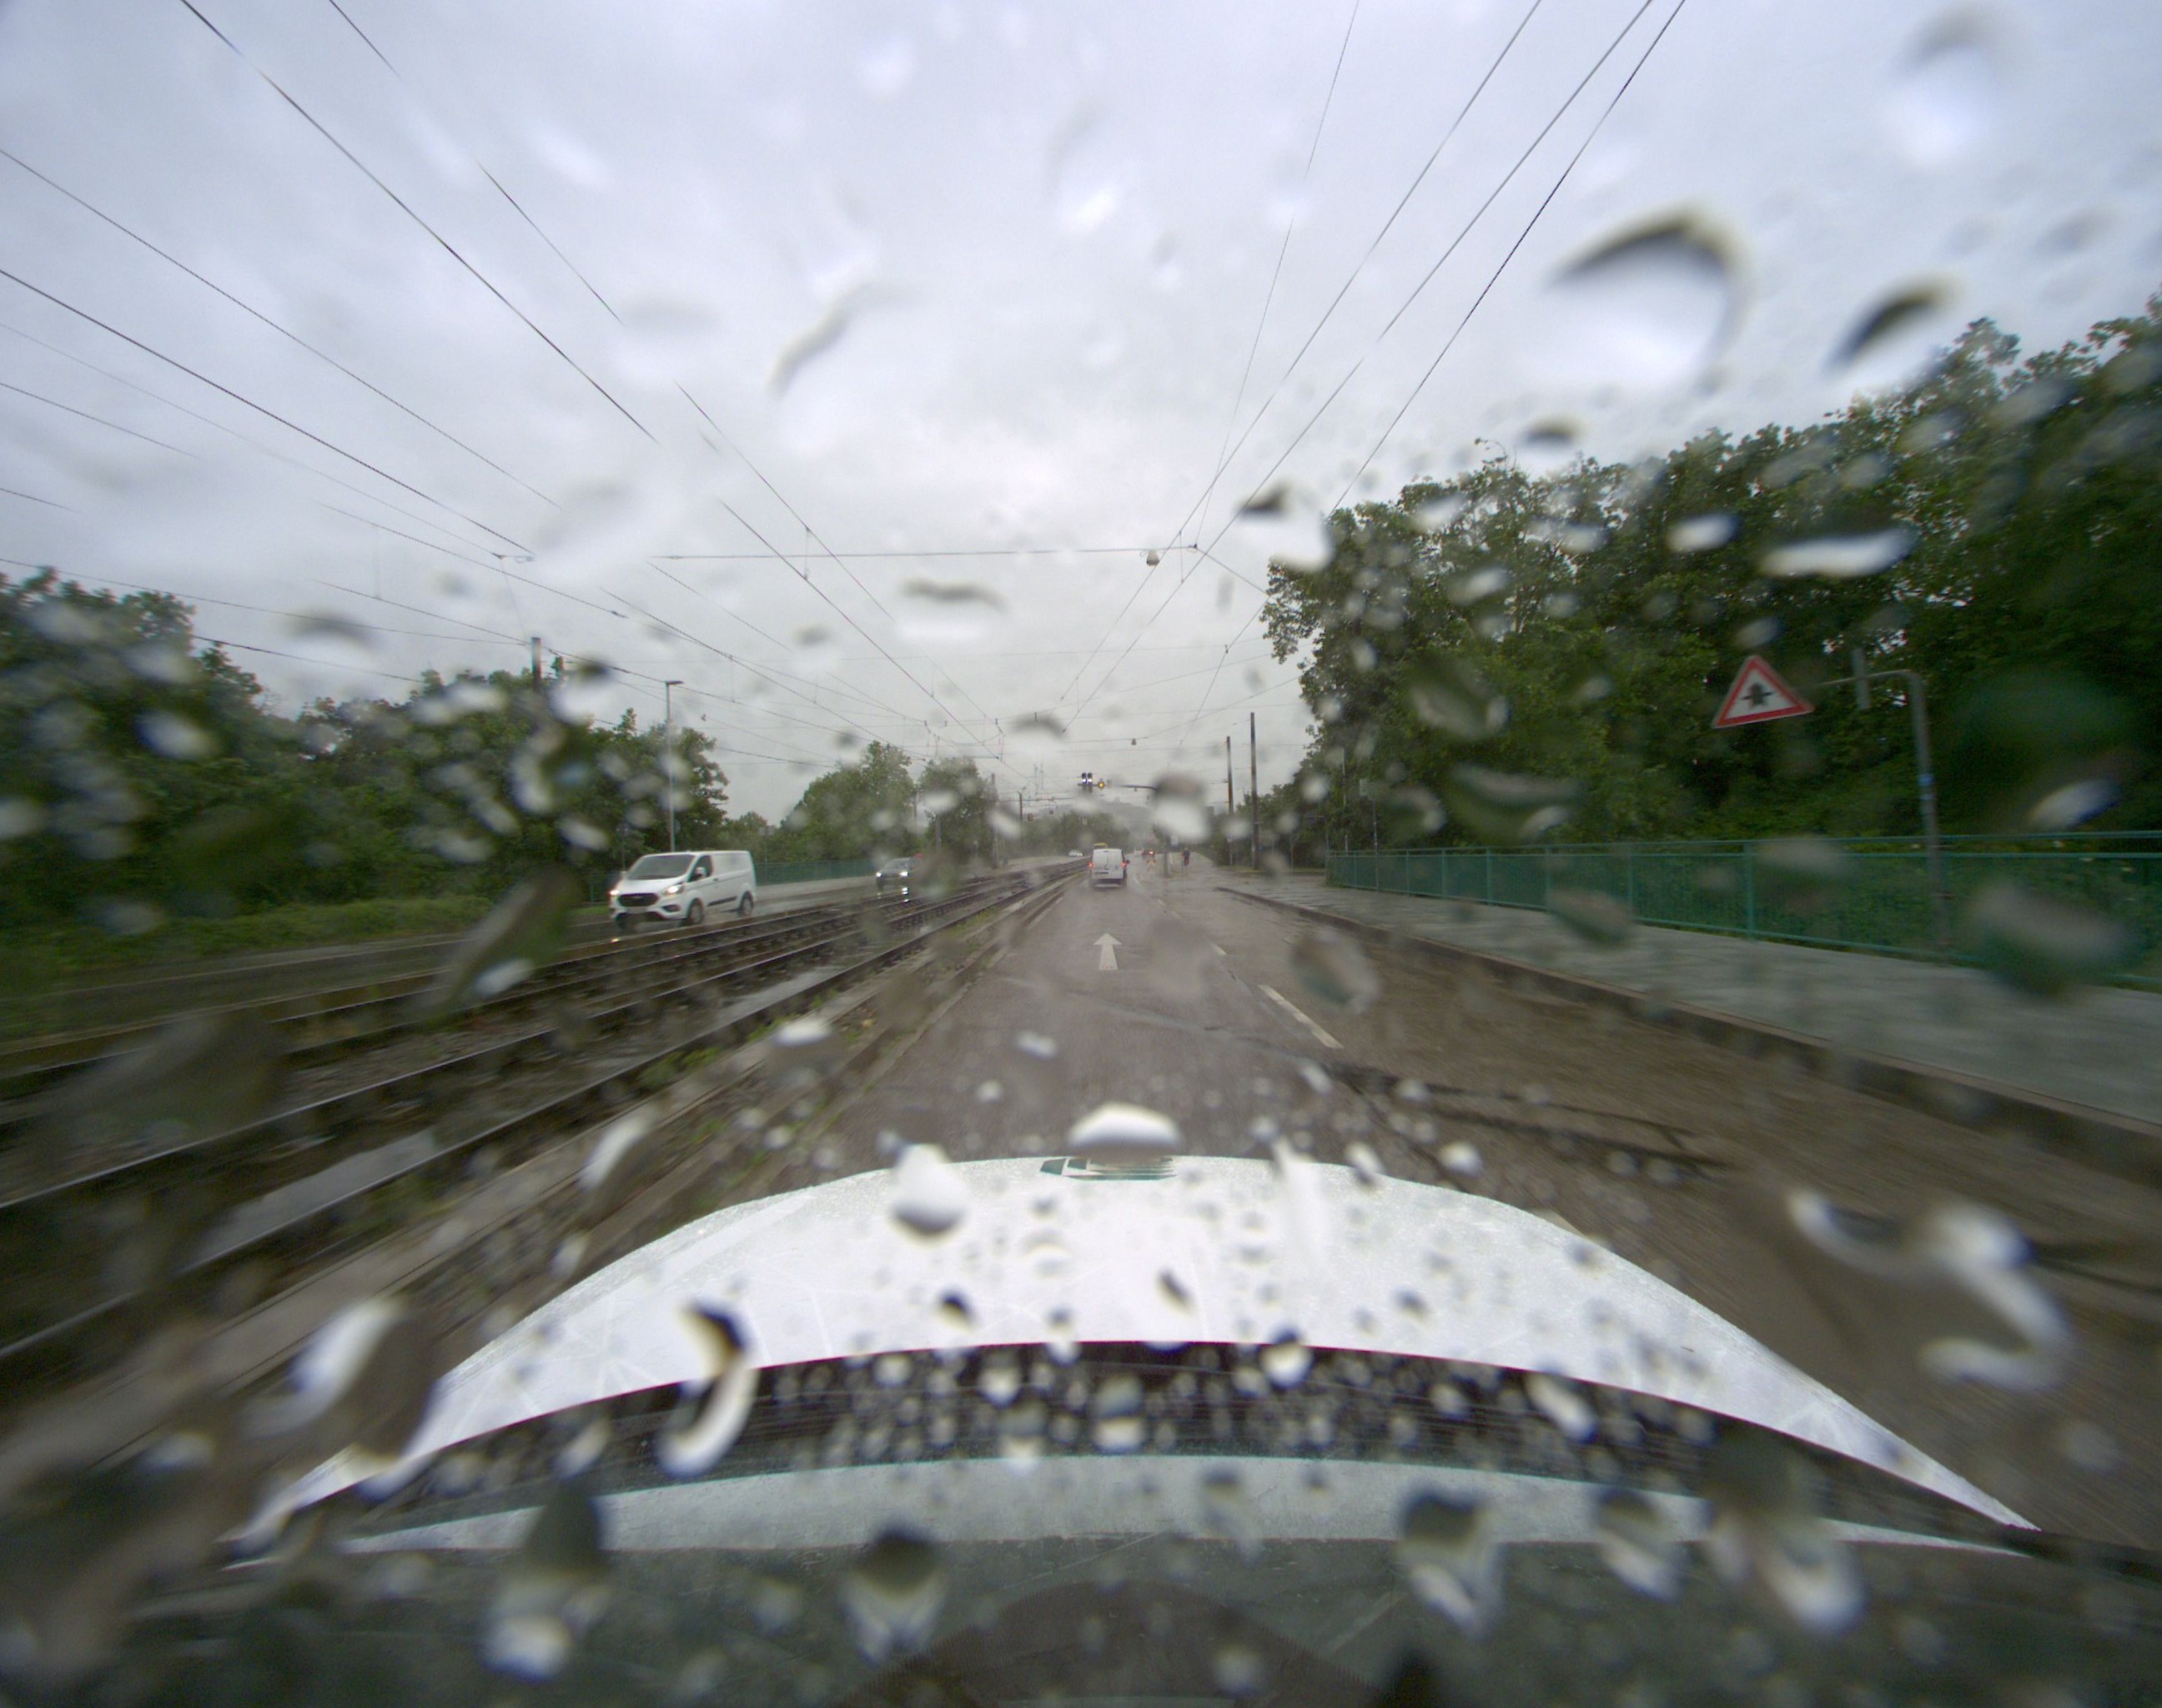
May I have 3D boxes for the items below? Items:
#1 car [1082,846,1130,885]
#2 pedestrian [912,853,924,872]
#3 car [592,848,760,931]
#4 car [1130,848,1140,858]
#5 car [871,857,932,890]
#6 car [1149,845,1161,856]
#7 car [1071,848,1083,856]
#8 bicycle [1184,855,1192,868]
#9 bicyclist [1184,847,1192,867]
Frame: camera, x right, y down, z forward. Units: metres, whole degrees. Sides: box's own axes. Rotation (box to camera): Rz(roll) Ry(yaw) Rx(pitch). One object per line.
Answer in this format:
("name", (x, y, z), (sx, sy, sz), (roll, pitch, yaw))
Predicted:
("car", (1.227, 0.545, 38.109), (1.984, 1.726, 4.006), (0, -1, 6))
("pedestrian", (-15.364, 0.812, 76.908), (0.860, 1.819, 1.044), (0, -1, 4))
("car", (-10.887, 0.861, 22.413), (1.986, 2.044, 5.030), (0, 0, 1))
("car", (8.352, -0.177, 126.968), (1.445, 1.499, 2.983), (0, -1, 2))
("car", (-9.731, 1.007, 44.579), (1.986, 1.648, 5.373), (0, 0, 1))
("car", (10.270, -0.522, 113.615), (1.445, 1.499, 2.983), (0, -1, 2))
("car", (-0.790, -0.410, 165.966), (1.925, 1.231, 4.107), (-3, 2, 6))
("bicycle", (9.570, 0.633, 72.924), (0.719, 1.129, 2.171), (0, 0, 6))
("bicyclist", (9.586, 0.281, 72.936), (0.722, 1.764, 0.951), (0, -1, 6))
